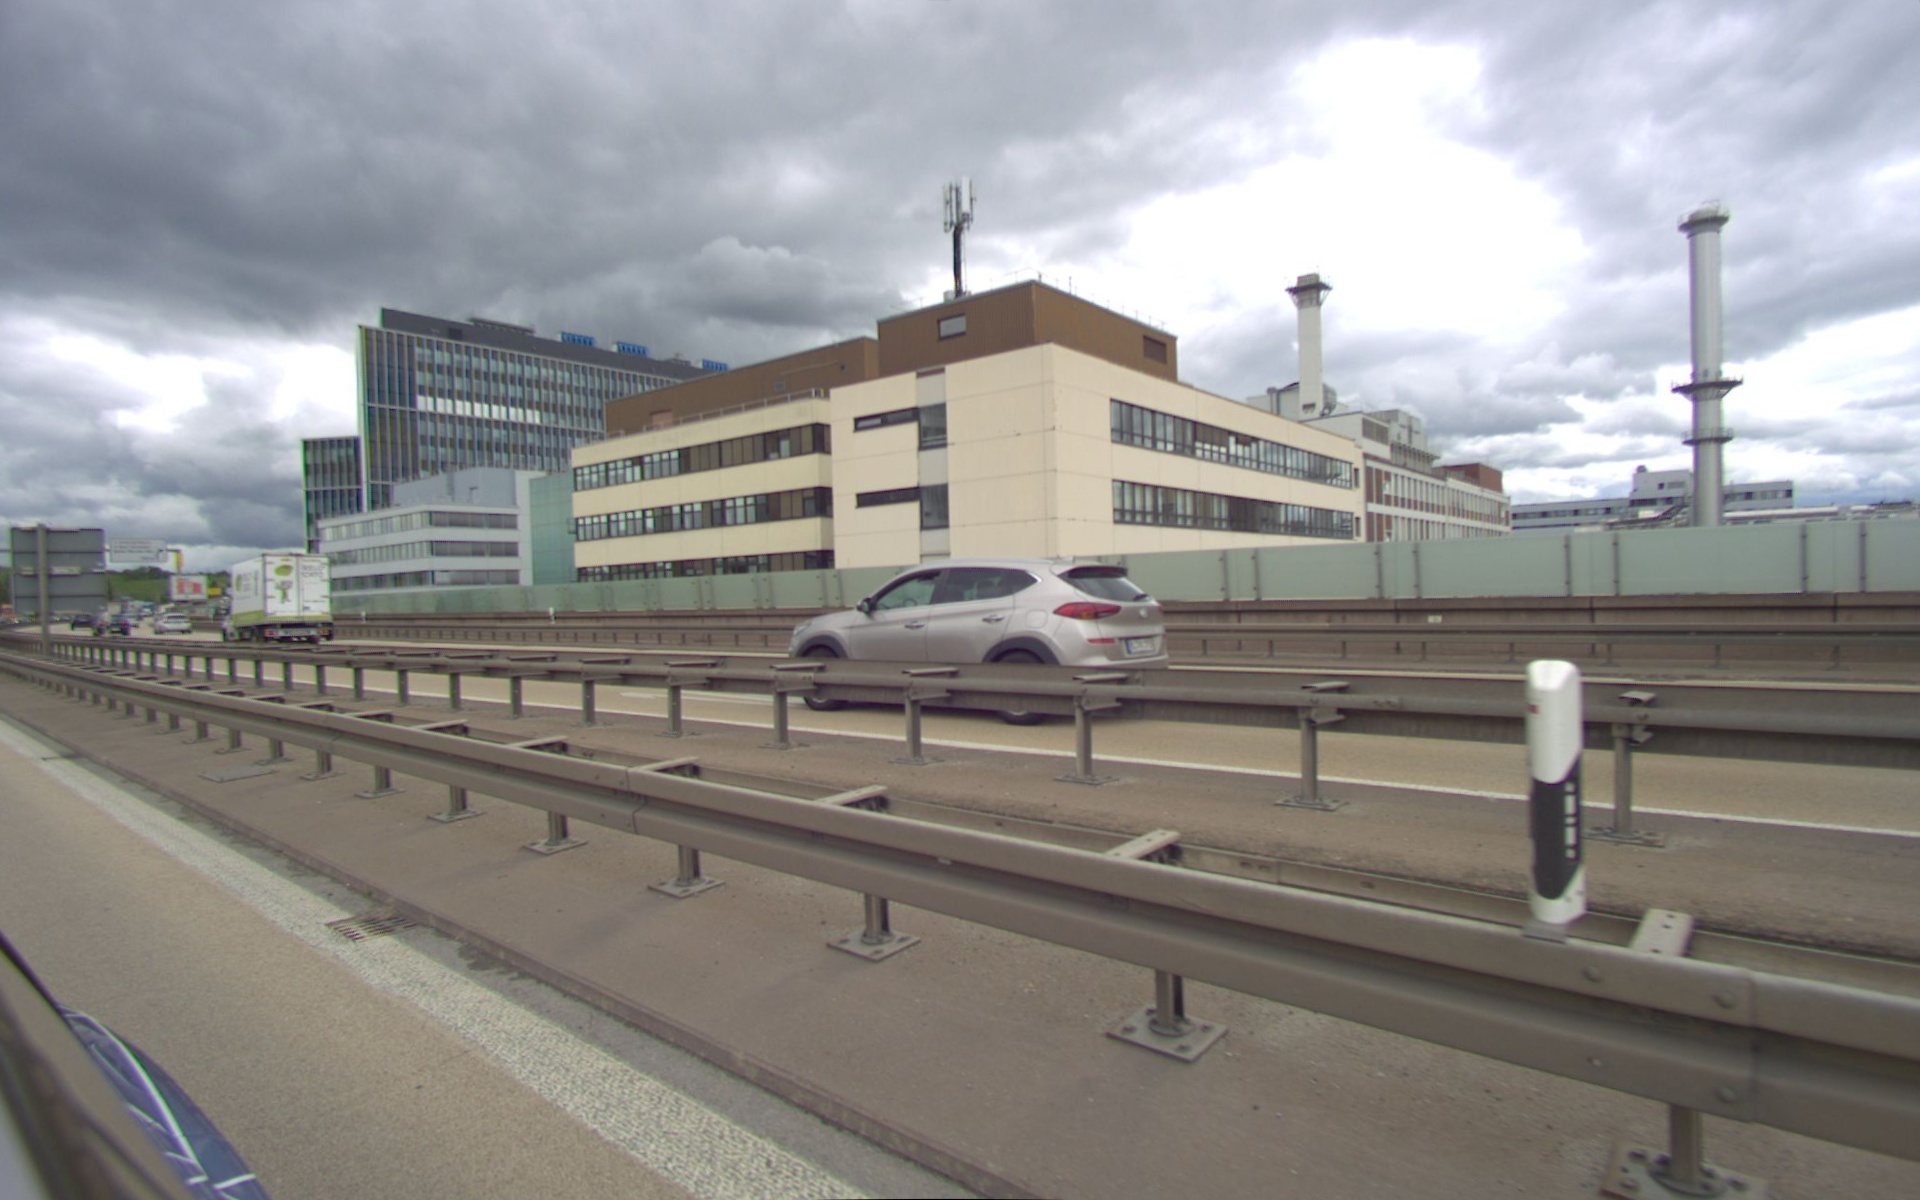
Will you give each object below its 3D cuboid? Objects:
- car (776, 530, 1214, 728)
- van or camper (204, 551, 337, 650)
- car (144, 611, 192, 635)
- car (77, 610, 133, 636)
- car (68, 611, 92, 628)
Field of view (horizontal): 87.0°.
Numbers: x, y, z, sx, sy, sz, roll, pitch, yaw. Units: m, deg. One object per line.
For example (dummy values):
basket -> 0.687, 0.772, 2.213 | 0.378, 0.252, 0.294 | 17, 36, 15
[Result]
car -> 0.233, 0.277, 10.705 | 4.401, 1.685, 1.827 | -1, 0, 38
van or camper -> -25.986, 0.056, 38.010 | 6.950, 3.413, 2.380 | -1, 0, 41
car -> -56.002, 1.616, 71.559 | 4.813, 1.623, 1.897 | -2, -1, 42
car -> -56.682, 1.528, 67.080 | 4.809, 1.623, 2.002 | -1, -1, 40
car -> -86.408, 1.912, 99.407 | 1.732, 1.631, 4.822 | 0, -1, -40
